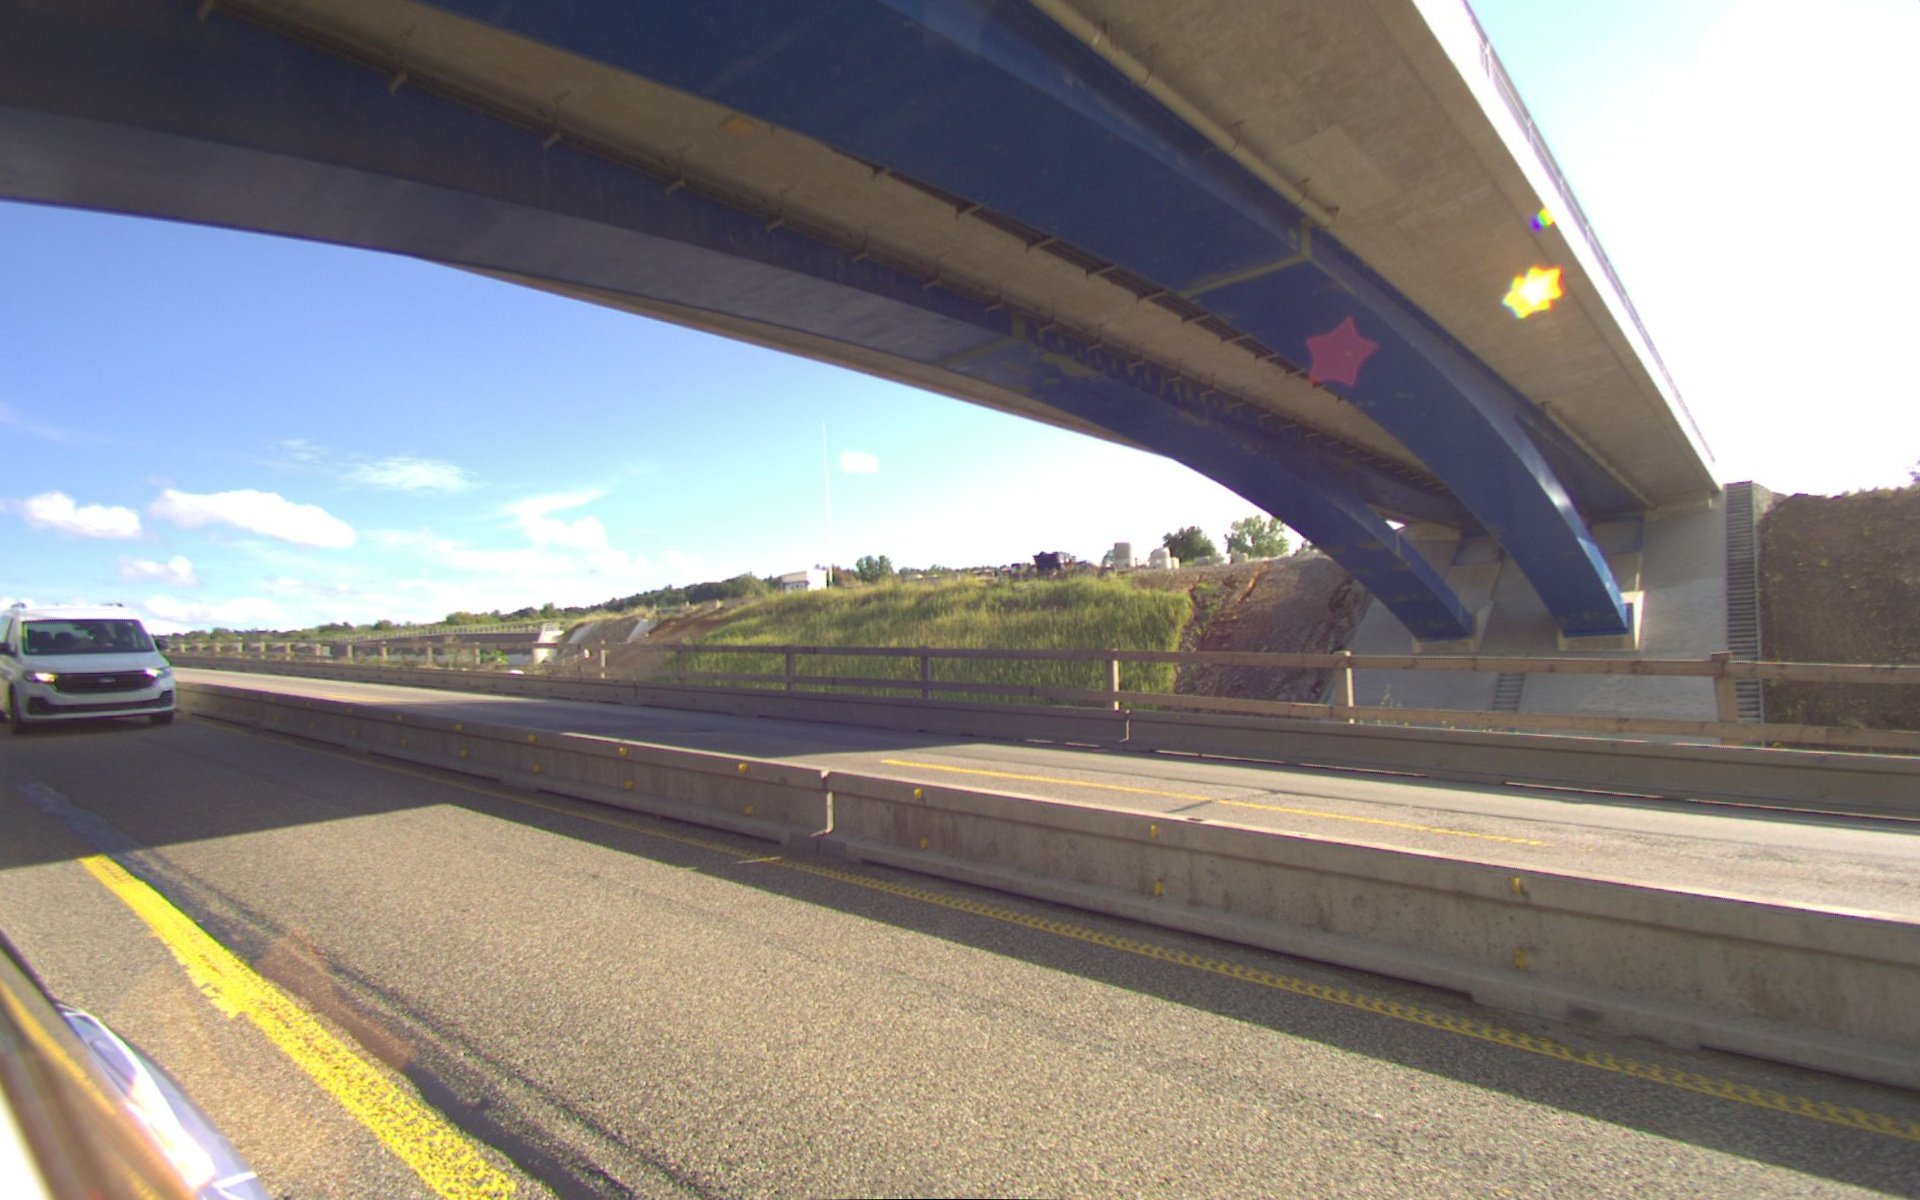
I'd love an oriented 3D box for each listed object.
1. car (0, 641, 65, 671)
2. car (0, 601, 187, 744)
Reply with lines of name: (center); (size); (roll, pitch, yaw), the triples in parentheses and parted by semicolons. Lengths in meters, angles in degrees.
car: (-37.448, 2.241, 40.689); (4.216, 1.164, 1.651); (-2, -5, 41)
car: (-13.444, 1.012, 15.314); (4.452, 1.837, 1.805); (-2, -1, 40)
